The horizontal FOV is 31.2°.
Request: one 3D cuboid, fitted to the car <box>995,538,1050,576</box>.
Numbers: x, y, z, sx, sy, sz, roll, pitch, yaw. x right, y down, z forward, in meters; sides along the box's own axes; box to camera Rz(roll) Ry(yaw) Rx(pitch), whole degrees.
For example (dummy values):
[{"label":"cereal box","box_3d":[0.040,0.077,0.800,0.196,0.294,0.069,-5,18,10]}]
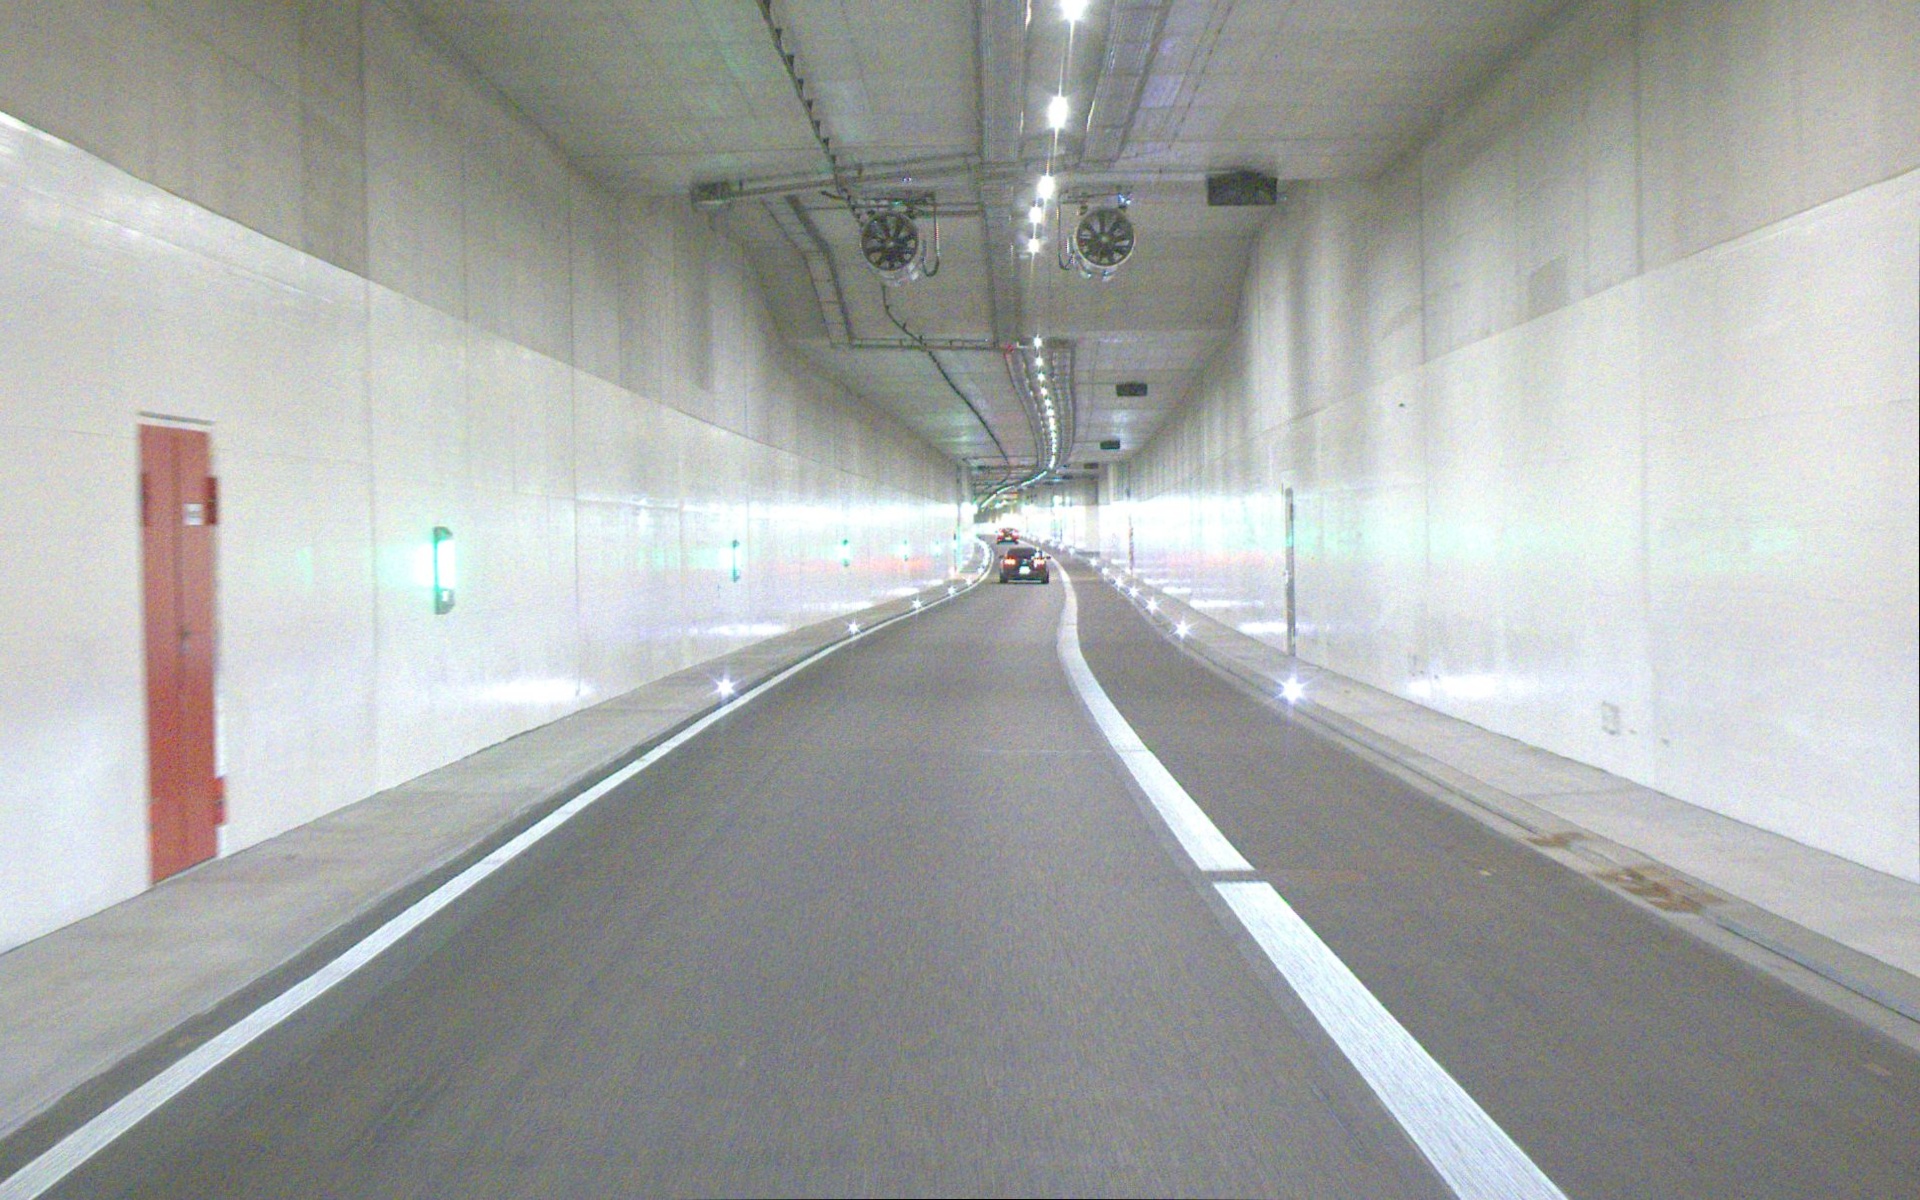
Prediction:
[{"label":"car","box_3d":[2.378,-1.658,132.347,1.993,1.415,4.000,1,1,-1]}]
